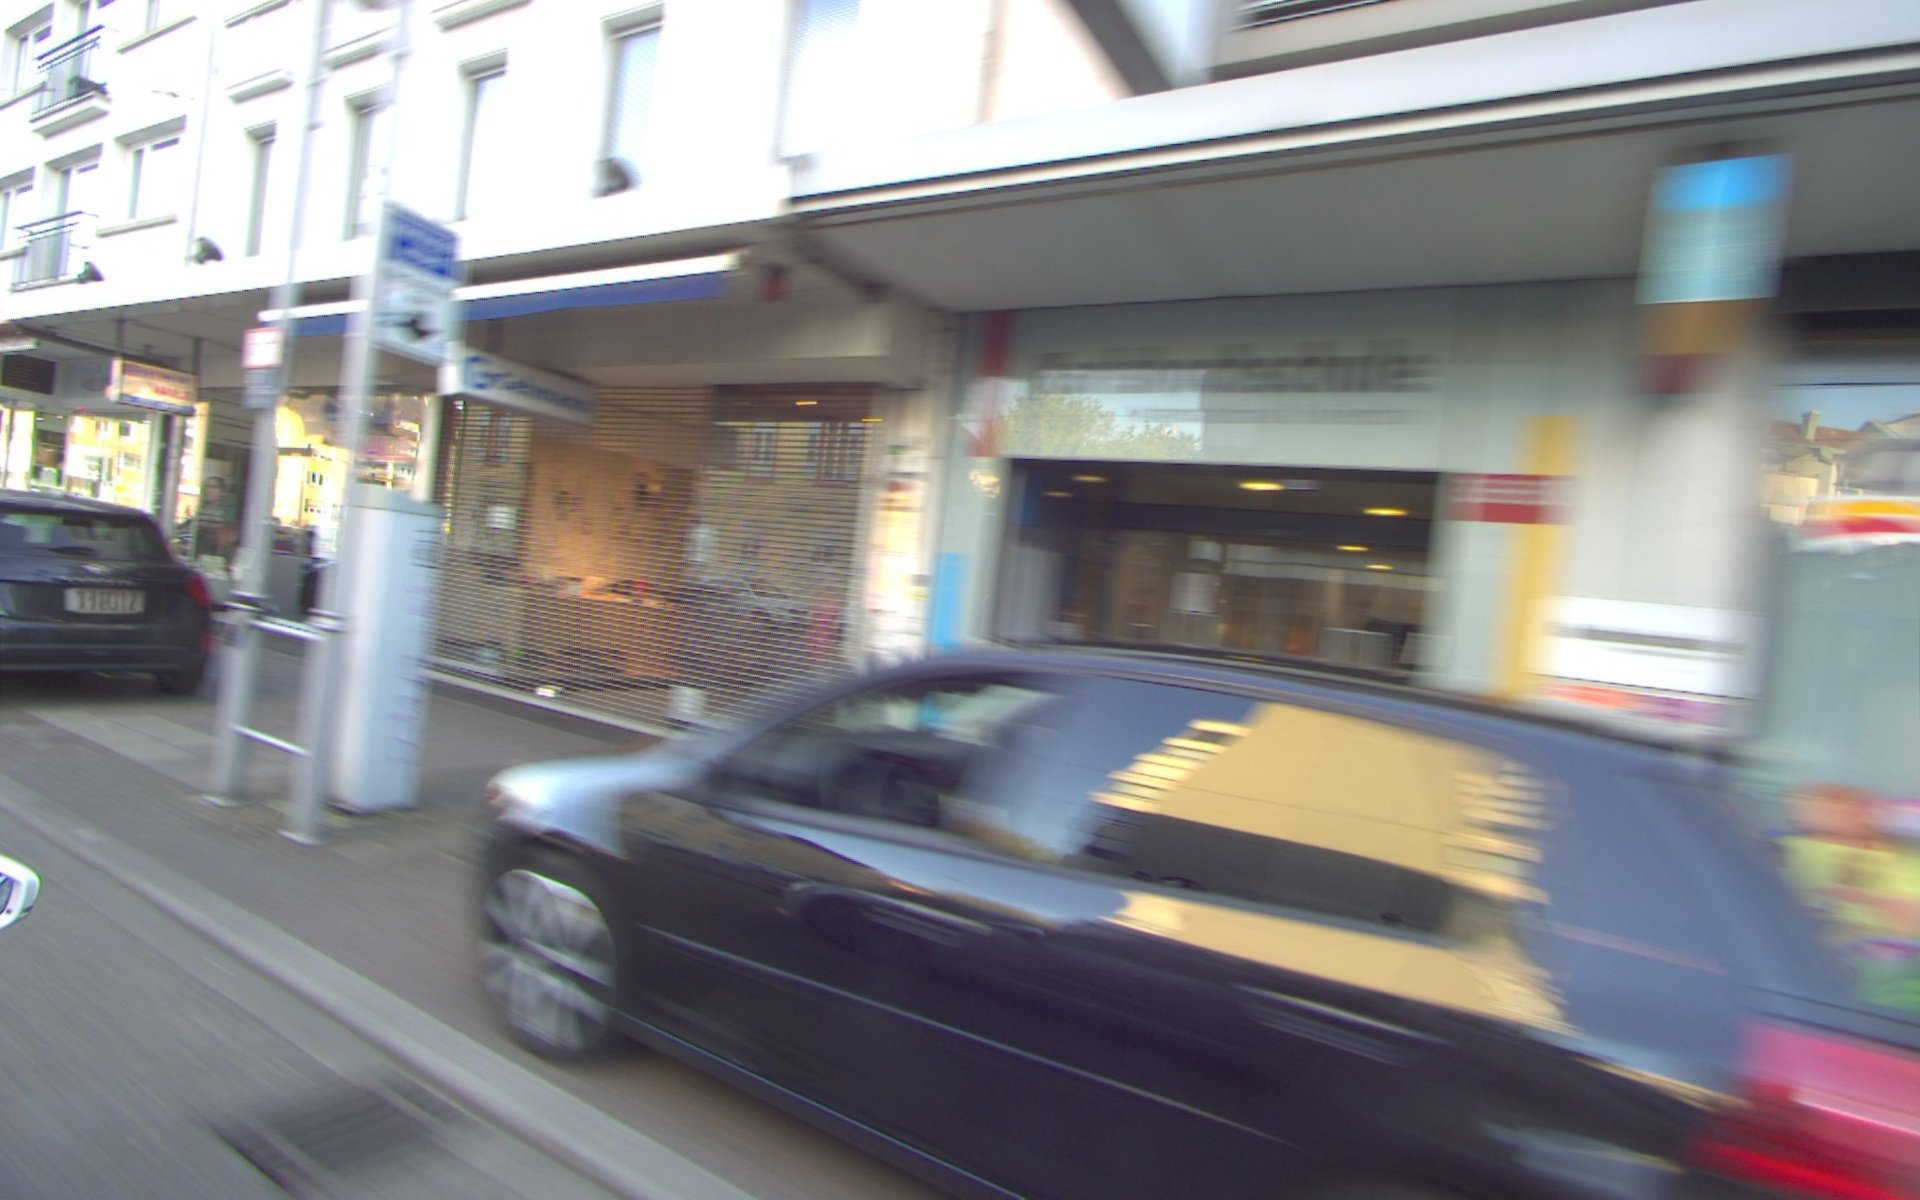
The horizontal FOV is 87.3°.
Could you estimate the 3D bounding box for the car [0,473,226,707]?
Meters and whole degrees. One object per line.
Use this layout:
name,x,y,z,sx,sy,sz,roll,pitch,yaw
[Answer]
car,-7.731,-0.246,7.947,3.968,1.531,1.687,7,1,32

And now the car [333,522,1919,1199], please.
car,0.085,0.756,3.100,4.098,1.531,1.721,7,1,32
